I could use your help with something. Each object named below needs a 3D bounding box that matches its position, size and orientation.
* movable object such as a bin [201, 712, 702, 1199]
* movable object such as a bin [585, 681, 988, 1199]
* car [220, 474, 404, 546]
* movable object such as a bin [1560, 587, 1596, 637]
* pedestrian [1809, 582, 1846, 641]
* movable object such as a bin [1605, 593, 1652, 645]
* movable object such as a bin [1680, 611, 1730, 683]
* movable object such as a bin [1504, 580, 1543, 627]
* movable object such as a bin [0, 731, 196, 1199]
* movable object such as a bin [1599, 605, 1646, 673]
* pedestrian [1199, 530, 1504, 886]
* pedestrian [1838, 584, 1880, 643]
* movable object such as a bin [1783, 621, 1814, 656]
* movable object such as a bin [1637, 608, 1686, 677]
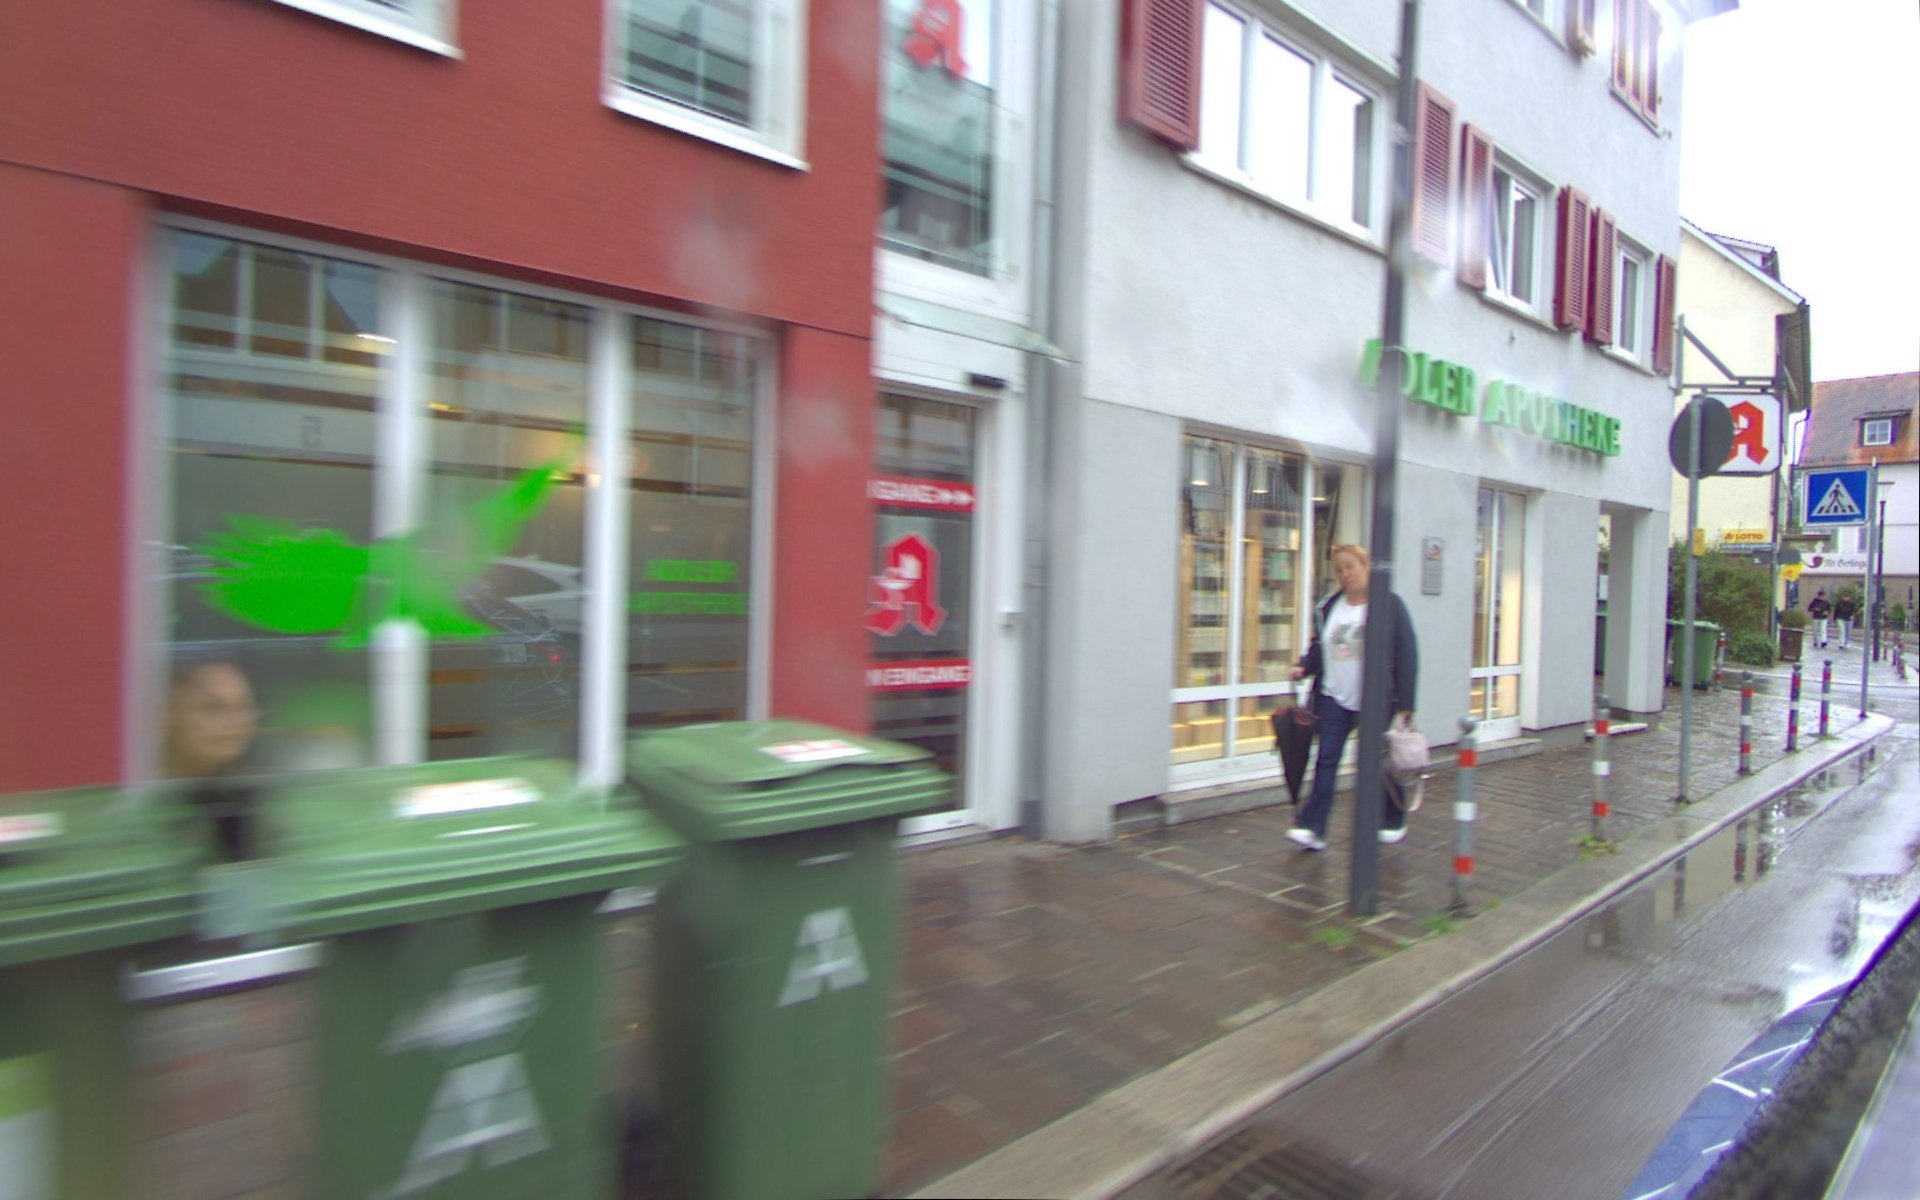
[{"bbox_3d":[-0.943,0.821,1.859,0.685,1.097,0.677,0,2,-40],"label":"movable object such as a bin"},{"bbox_3d":[-0.423,0.797,2.424,0.705,1.100,0.677,0,2,-40],"label":"movable object such as a bin"},{"bbox_3d":[-13.444,-1.818,21.055,3.076,1.371,1.399,-2,3,-39],"label":"car"},{"bbox_3d":[13.781,0.266,22.570,0.614,1.069,0.514,-2,3,-40],"label":"movable object such as a bin"},{"bbox_3d":[29.548,0.385,34.480,0.648,1.925,0.654,4,3,22],"label":"pedestrian"},{"bbox_3d":[14.346,0.400,21.717,0.612,1.069,0.516,0,3,-12],"label":"movable object such as a bin"},{"bbox_3d":[11.893,0.731,16.154,0.539,1.069,0.501,-2,5,-42],"label":"movable object such as a bin"},{"bbox_3d":[13.173,0.081,23.669,0.612,1.069,0.516,0,0,-24],"label":"movable object such as a bin"},{"bbox_3d":[-1.514,0.820,1.478,0.603,1.108,0.711,0,2,-40],"label":"movable object such as a bin"},{"bbox_3d":[11.139,0.644,17.009,0.539,1.069,0.501,-2,5,-42],"label":"movable object such as a bin"},{"bbox_3d":[2.209,0.495,5.733,1.158,1.718,1.179,0,3,-44],"label":"pedestrian"},{"bbox_3d":[30.199,0.431,34.014,0.765,1.927,0.800,2,3,22],"label":"pedestrian"},{"bbox_3d":[22.334,1.021,26.961,0.546,0.846,0.896,5,3,42],"label":"movable object such as a bin"},{"bbox_3d":[11.510,0.686,16.611,0.539,1.069,0.501,-2,5,-42],"label":"movable object such as a bin"}]
